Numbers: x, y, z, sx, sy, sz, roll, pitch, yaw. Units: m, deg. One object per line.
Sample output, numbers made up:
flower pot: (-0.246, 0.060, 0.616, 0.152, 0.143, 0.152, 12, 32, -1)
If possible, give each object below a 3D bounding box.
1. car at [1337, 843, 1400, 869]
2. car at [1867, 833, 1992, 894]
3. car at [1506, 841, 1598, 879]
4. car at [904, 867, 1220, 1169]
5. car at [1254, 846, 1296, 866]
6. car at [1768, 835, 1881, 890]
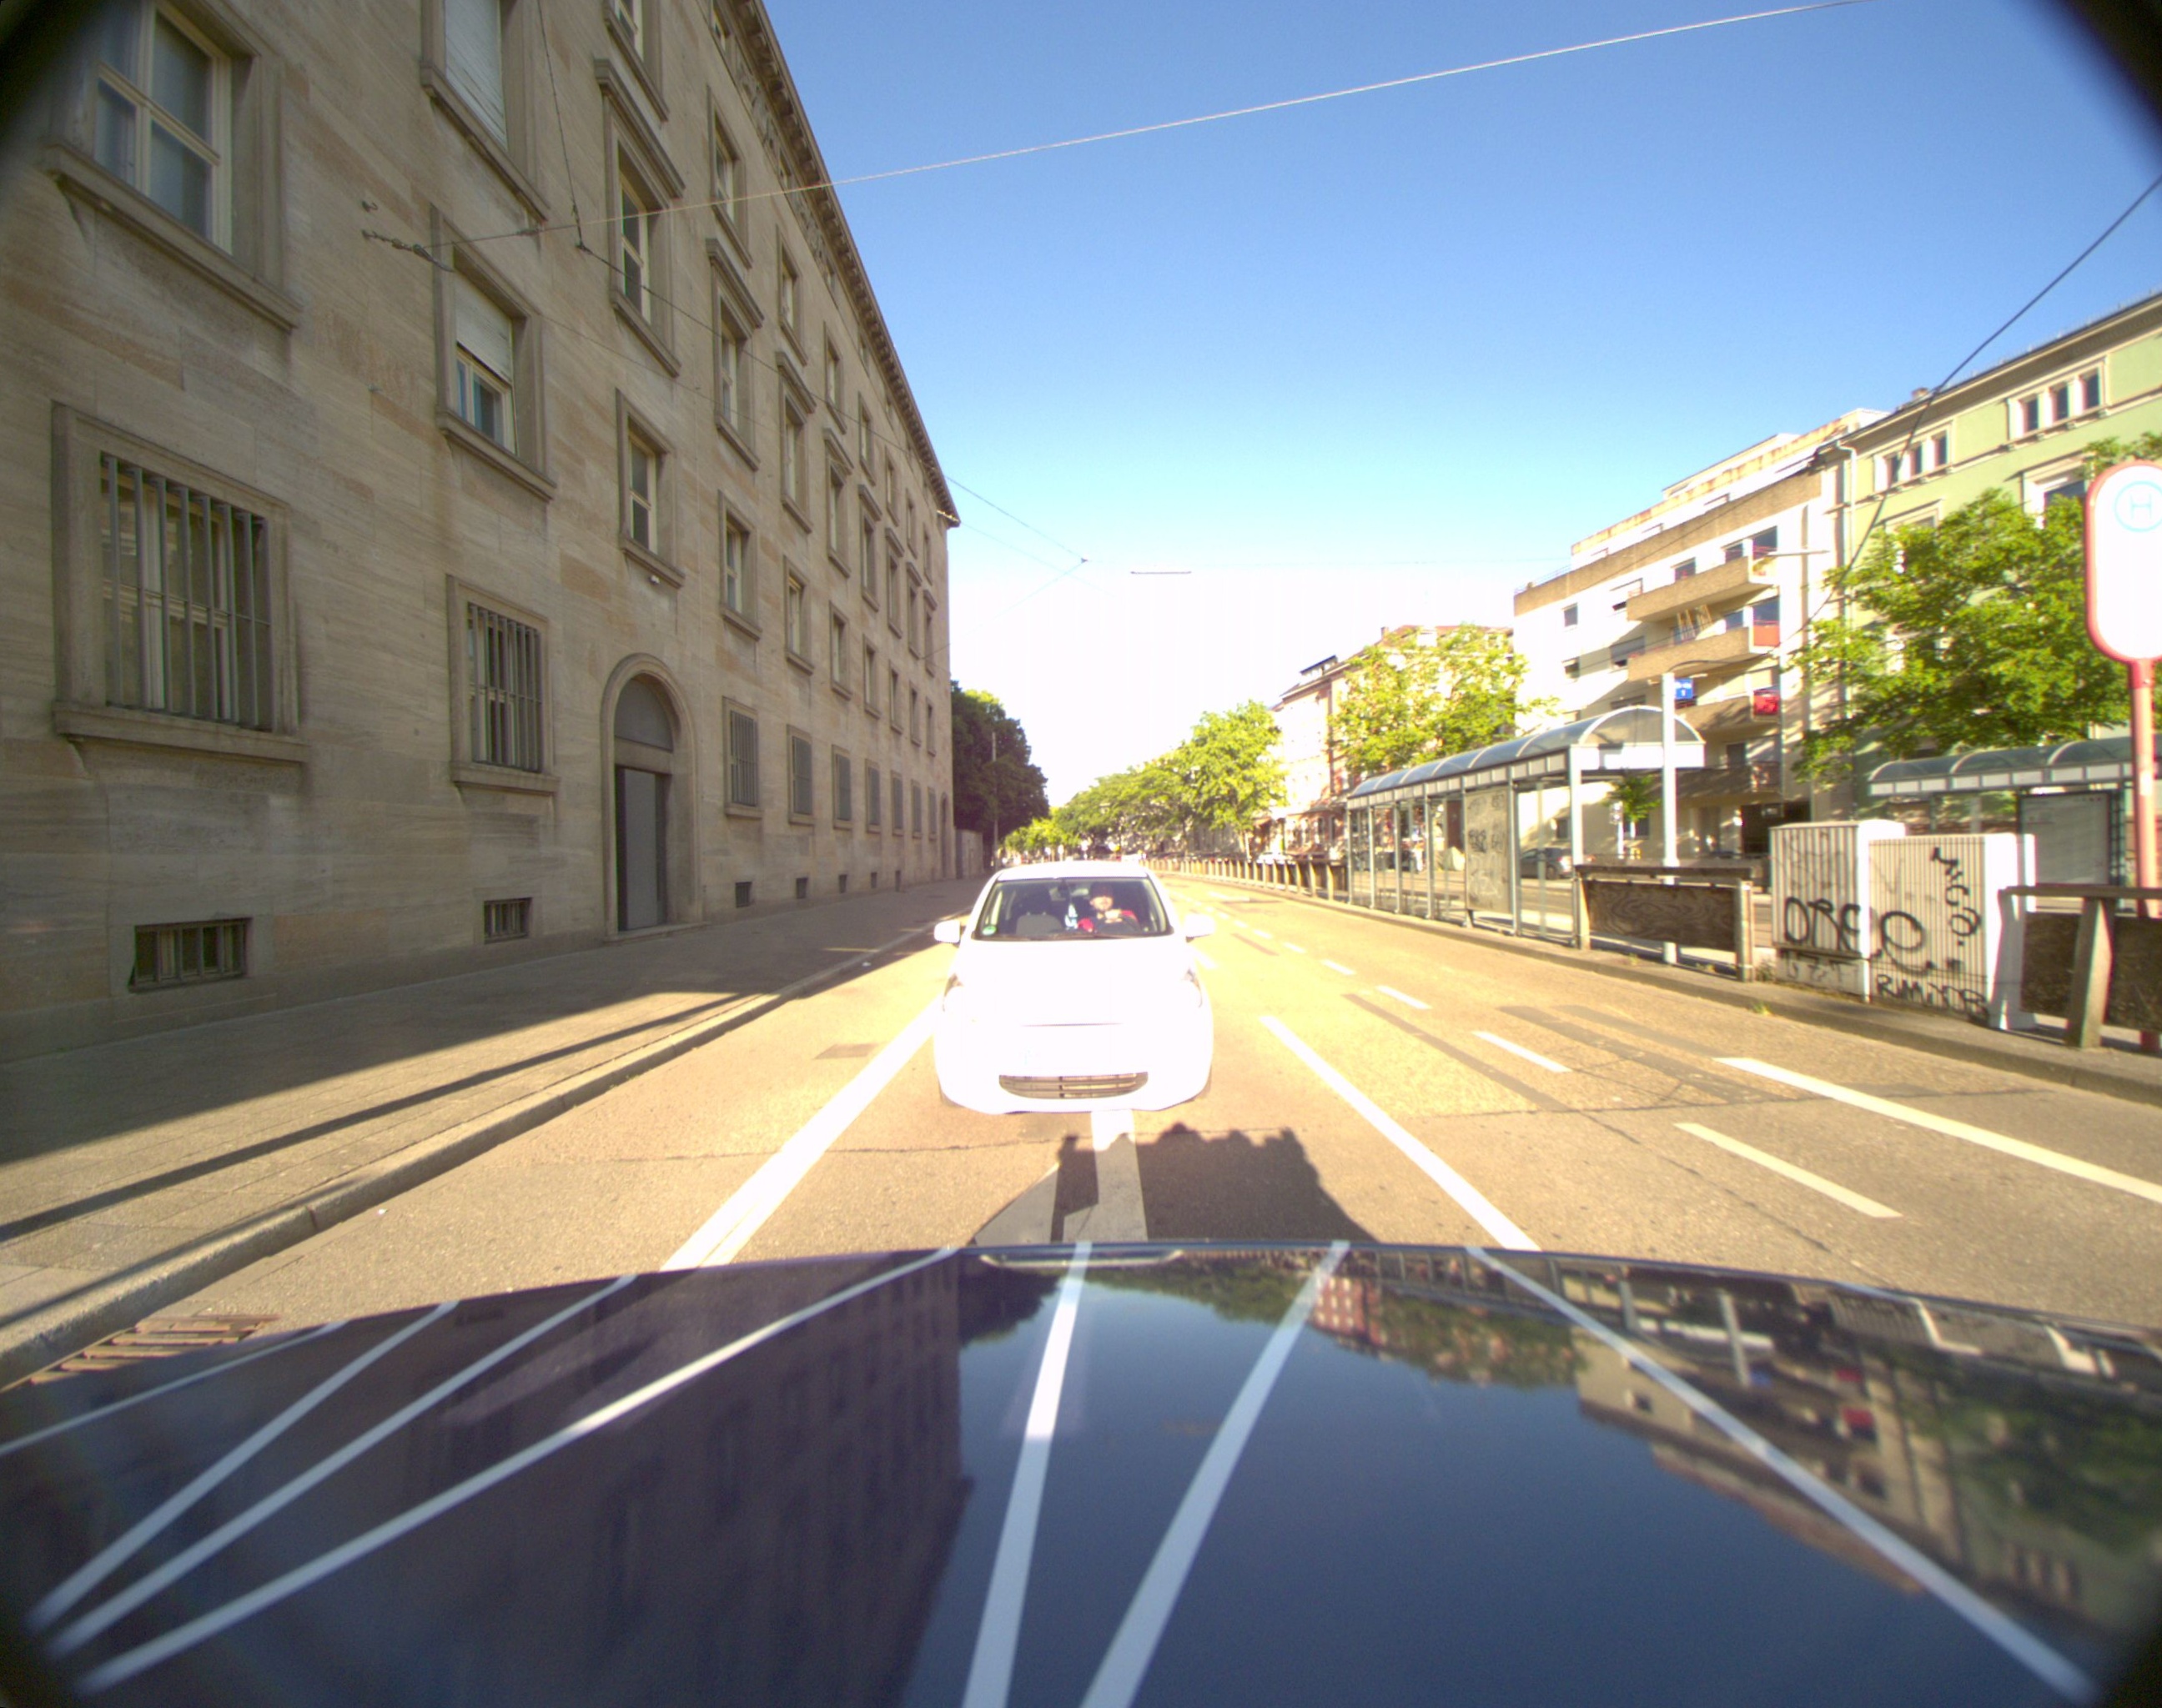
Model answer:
car: (19.543, 0.128, 51.723, 3.599, 1.558, 1.630, -2, 1, -7)
car: (24.462, 0.234, 21.890, 3.605, 1.558, 1.627, -3, 1, -29)
car: (20.914, 0.235, 33.932, 1.631, 1.558, 3.598, -2, 1, -5)
car: (-0.075, 0.899, 5.809, 1.612, 1.462, 3.631, -2, 0, 1)
car: (16.257, 0.159, 63.477, 3.607, 1.558, 1.627, -3, 1, -42)
car: (23.883, 0.228, 24.403, 3.605, 1.558, 1.627, -3, 1, -29)
